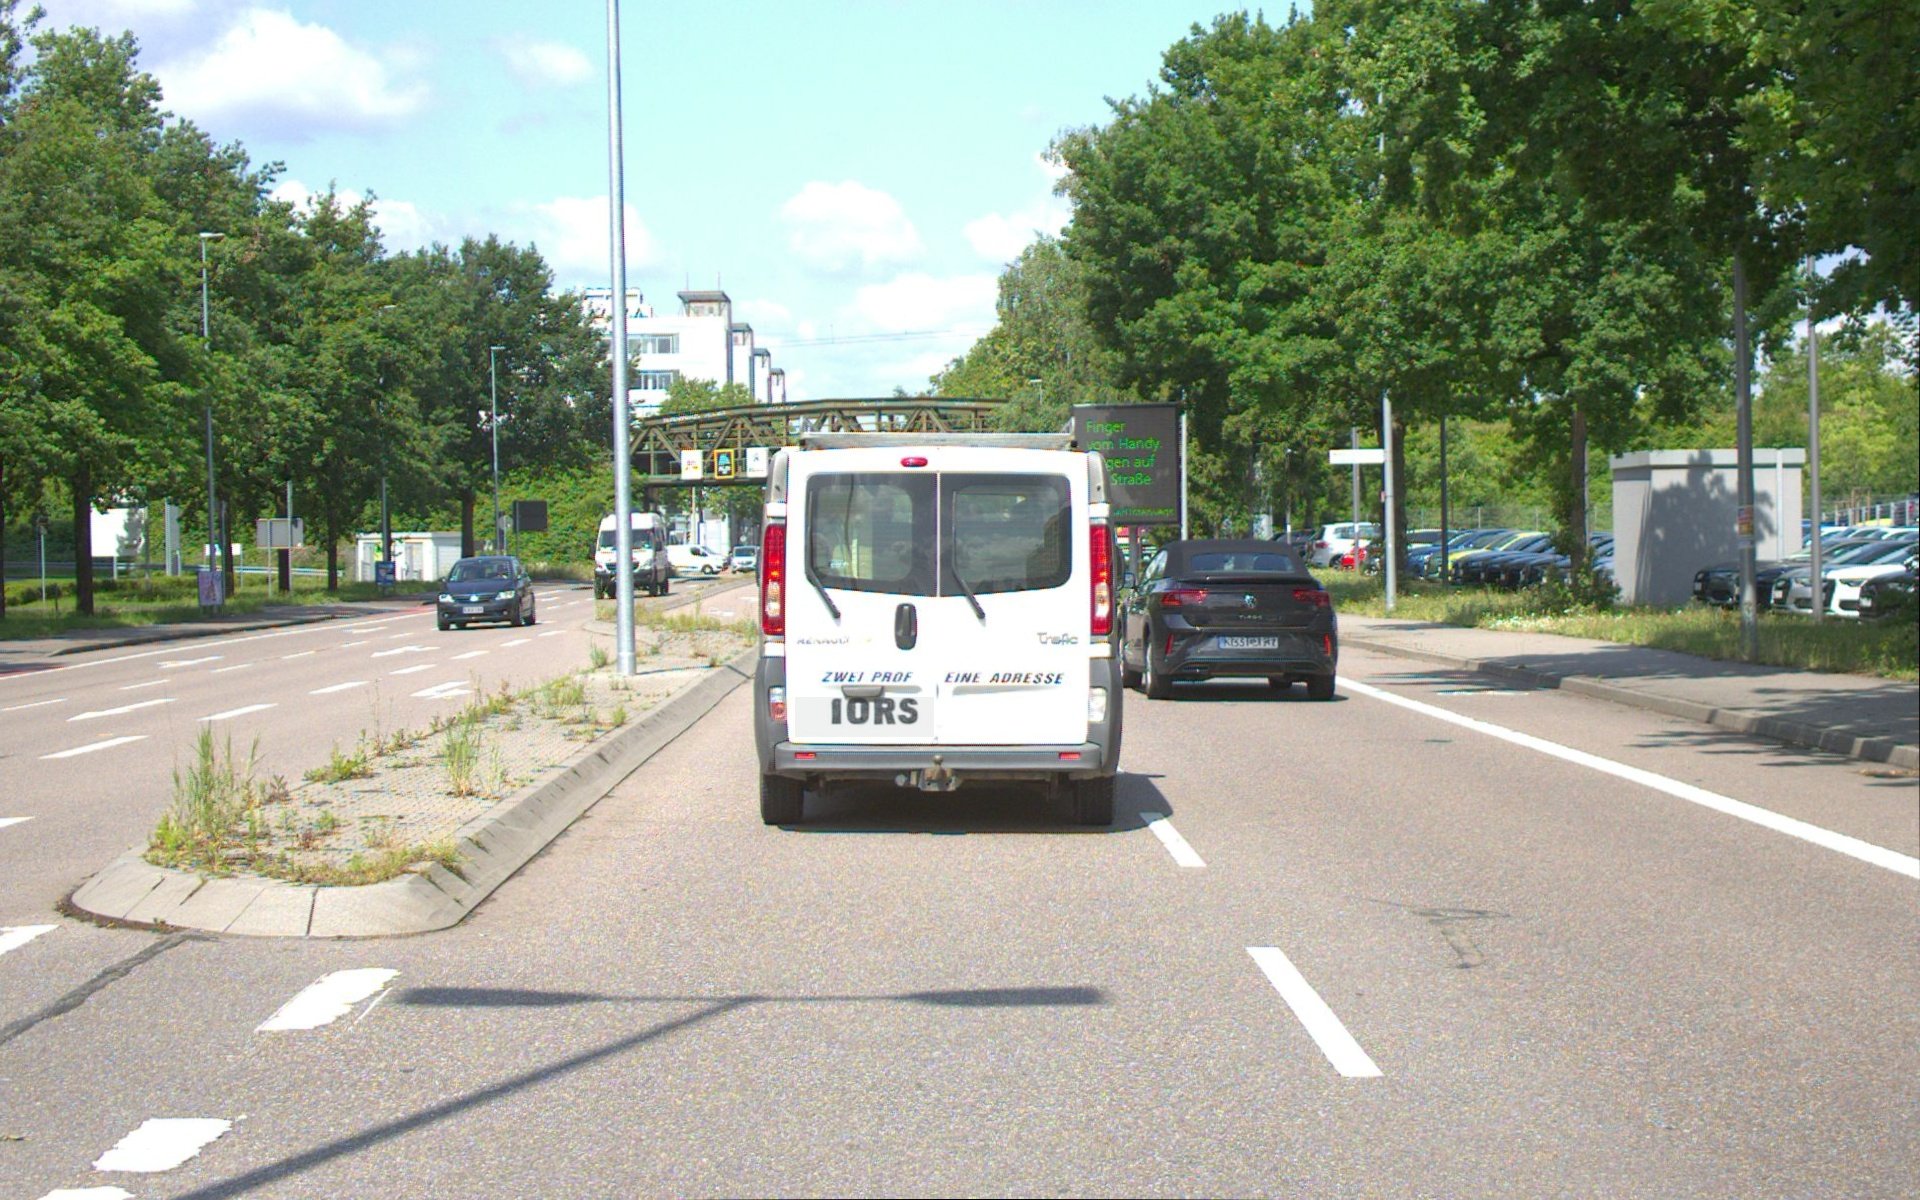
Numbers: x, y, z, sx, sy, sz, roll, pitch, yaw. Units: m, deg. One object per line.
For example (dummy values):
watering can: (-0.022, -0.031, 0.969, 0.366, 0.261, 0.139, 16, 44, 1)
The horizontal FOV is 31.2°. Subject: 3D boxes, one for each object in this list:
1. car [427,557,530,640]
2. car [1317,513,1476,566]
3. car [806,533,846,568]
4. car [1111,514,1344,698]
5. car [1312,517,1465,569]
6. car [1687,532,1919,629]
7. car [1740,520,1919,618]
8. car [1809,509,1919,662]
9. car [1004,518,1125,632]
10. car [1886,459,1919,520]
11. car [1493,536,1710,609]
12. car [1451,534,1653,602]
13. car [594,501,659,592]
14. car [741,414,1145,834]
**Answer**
car: (-10.350, -0.061, 74.068, 1.738, 1.604, 4.242, -4, 1, -3)
car: (12.856, -1.791, 101.417, 4.354, 1.507, 1.936, 0, 3, -2)
car: (-7.283, -2.687, 187.640, 1.993, 1.765, 4.001, 0, 3, 0)
car: (2.527, 0.004, 33.338, 1.773, 1.623, 4.001, 0, 2, -2)
car: (13.038, -1.734, 104.838, 4.354, 1.507, 1.936, 0, 3, -2)
car: (14.208, -0.333, 55.889, 4.355, 1.507, 1.855, -1, 1, 0)
car: (13.723, -0.476, 50.458, 4.107, 1.399, 1.818, -1, 1, -1)
car: (14.316, -0.214, 47.691, 4.574, 2.042, 1.907, 0, 3, -1)
car: (1.566, -0.417, 52.591, 1.774, 1.623, 4.000, 0, 2, 1)
car: (29.655, -3.248, 101.000, 4.355, 1.768, 1.936, 0, 3, 3)
car: (14.064, -0.612, 75.494, 4.354, 1.507, 1.936, 0, 3, -2)
car: (13.892, -0.750, 80.806, 4.354, 1.507, 1.936, 0, 3, -2)
car: (-10.917, -1.752, 112.852, 2.022, 2.883, 6.383, -1, 1, -5)
car: (-0.067, 0.036, 19.163, 1.973, 2.052, 4.565, 0, 2, 0)
